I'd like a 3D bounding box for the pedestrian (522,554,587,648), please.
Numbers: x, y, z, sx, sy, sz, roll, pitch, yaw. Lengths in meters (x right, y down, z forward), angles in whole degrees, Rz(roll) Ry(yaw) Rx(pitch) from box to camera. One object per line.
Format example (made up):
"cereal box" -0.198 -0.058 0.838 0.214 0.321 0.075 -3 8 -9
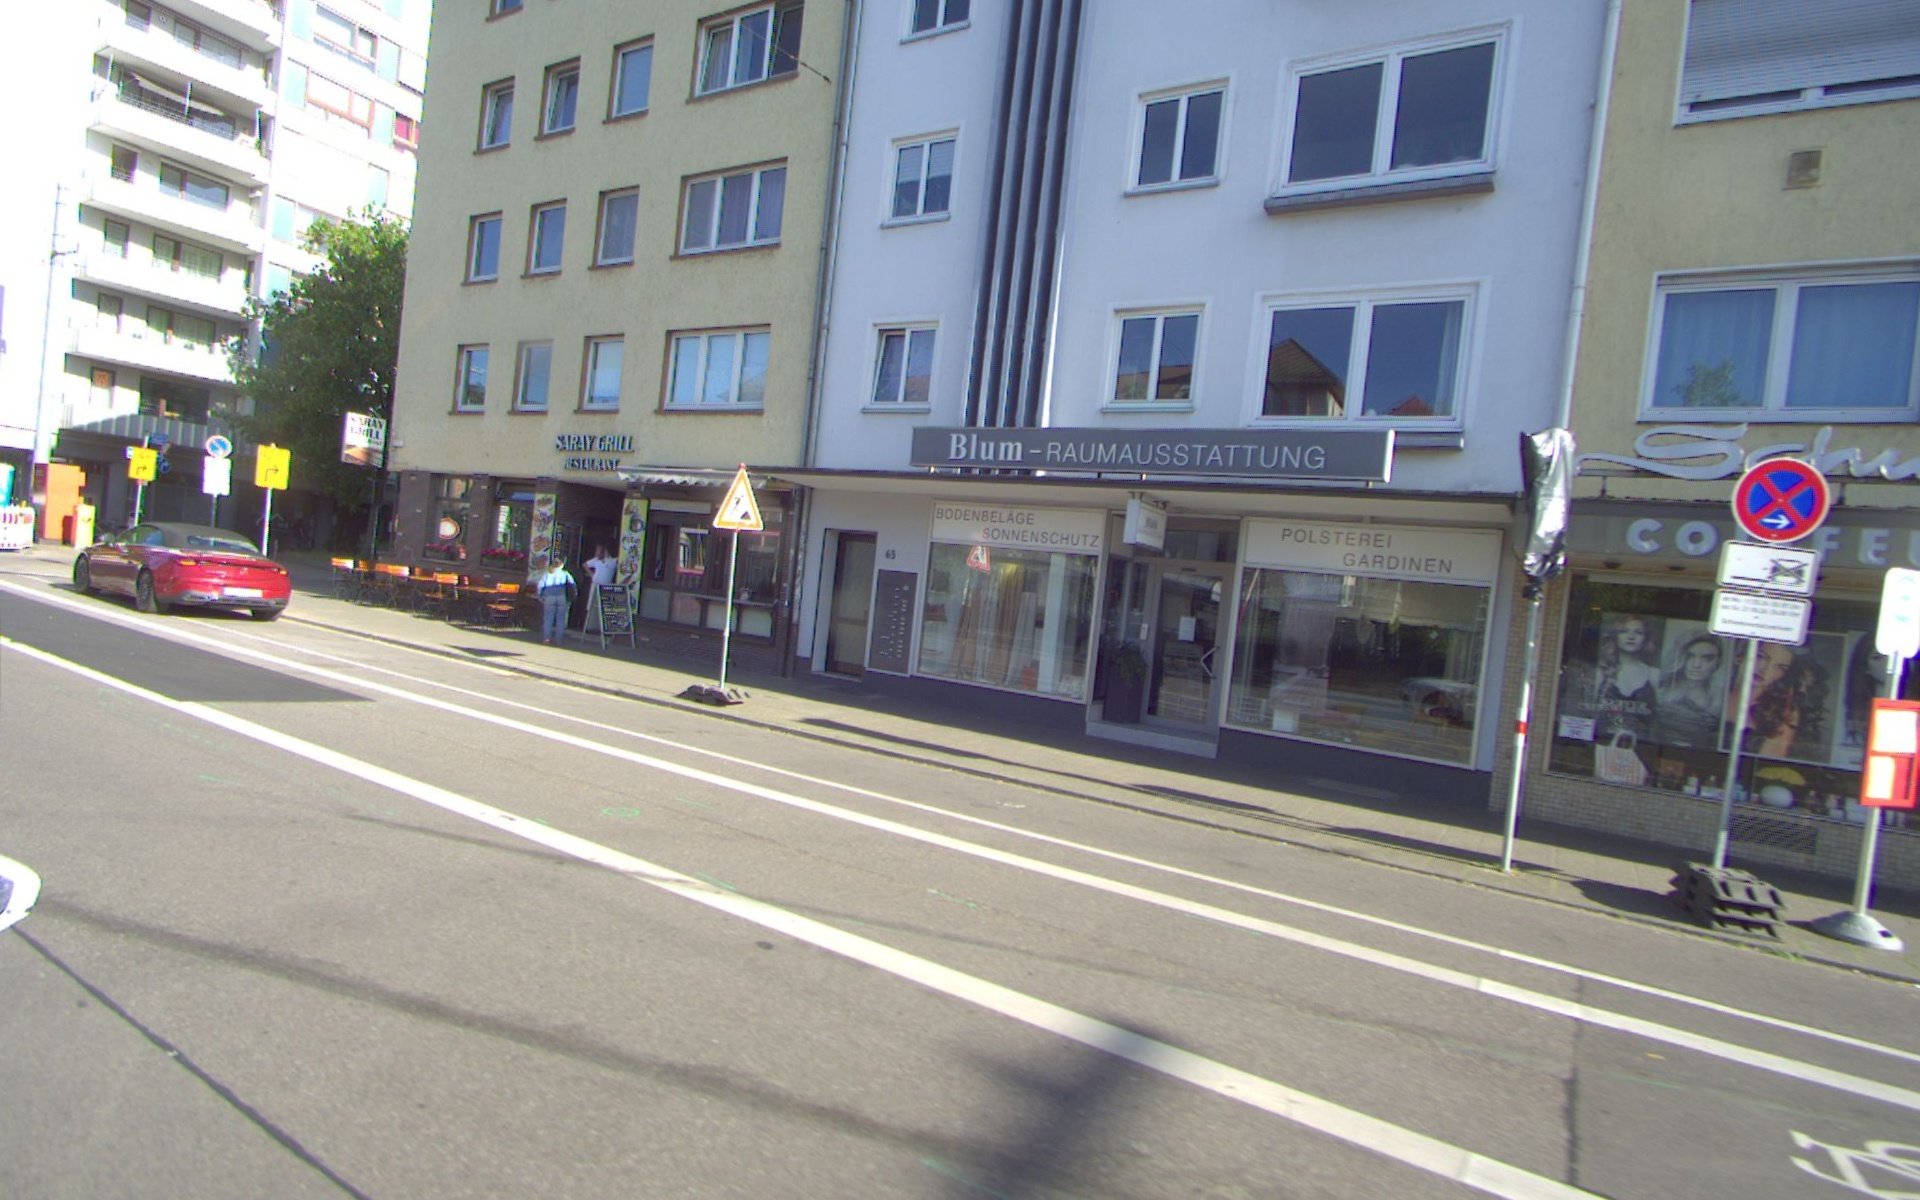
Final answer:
"pedestrian" -7.002 0.027 17.375 0.641 1.525 0.671 7 1 32

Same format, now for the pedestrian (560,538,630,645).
"pedestrian" -6.831 -0.157 18.875 0.884 1.879 0.730 6 3 -1

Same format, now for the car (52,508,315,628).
"car" -13.201 -0.572 17.007 5.075 1.461 1.873 6 0 33

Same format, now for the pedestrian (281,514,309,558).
"pedestrian" -30.444 -2.926 46.081 0.667 1.875 0.656 7 -2 34

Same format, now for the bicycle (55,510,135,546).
"bicycle" -30.203 -2.514 35.178 2.019 0.955 1.006 7 0 -39
